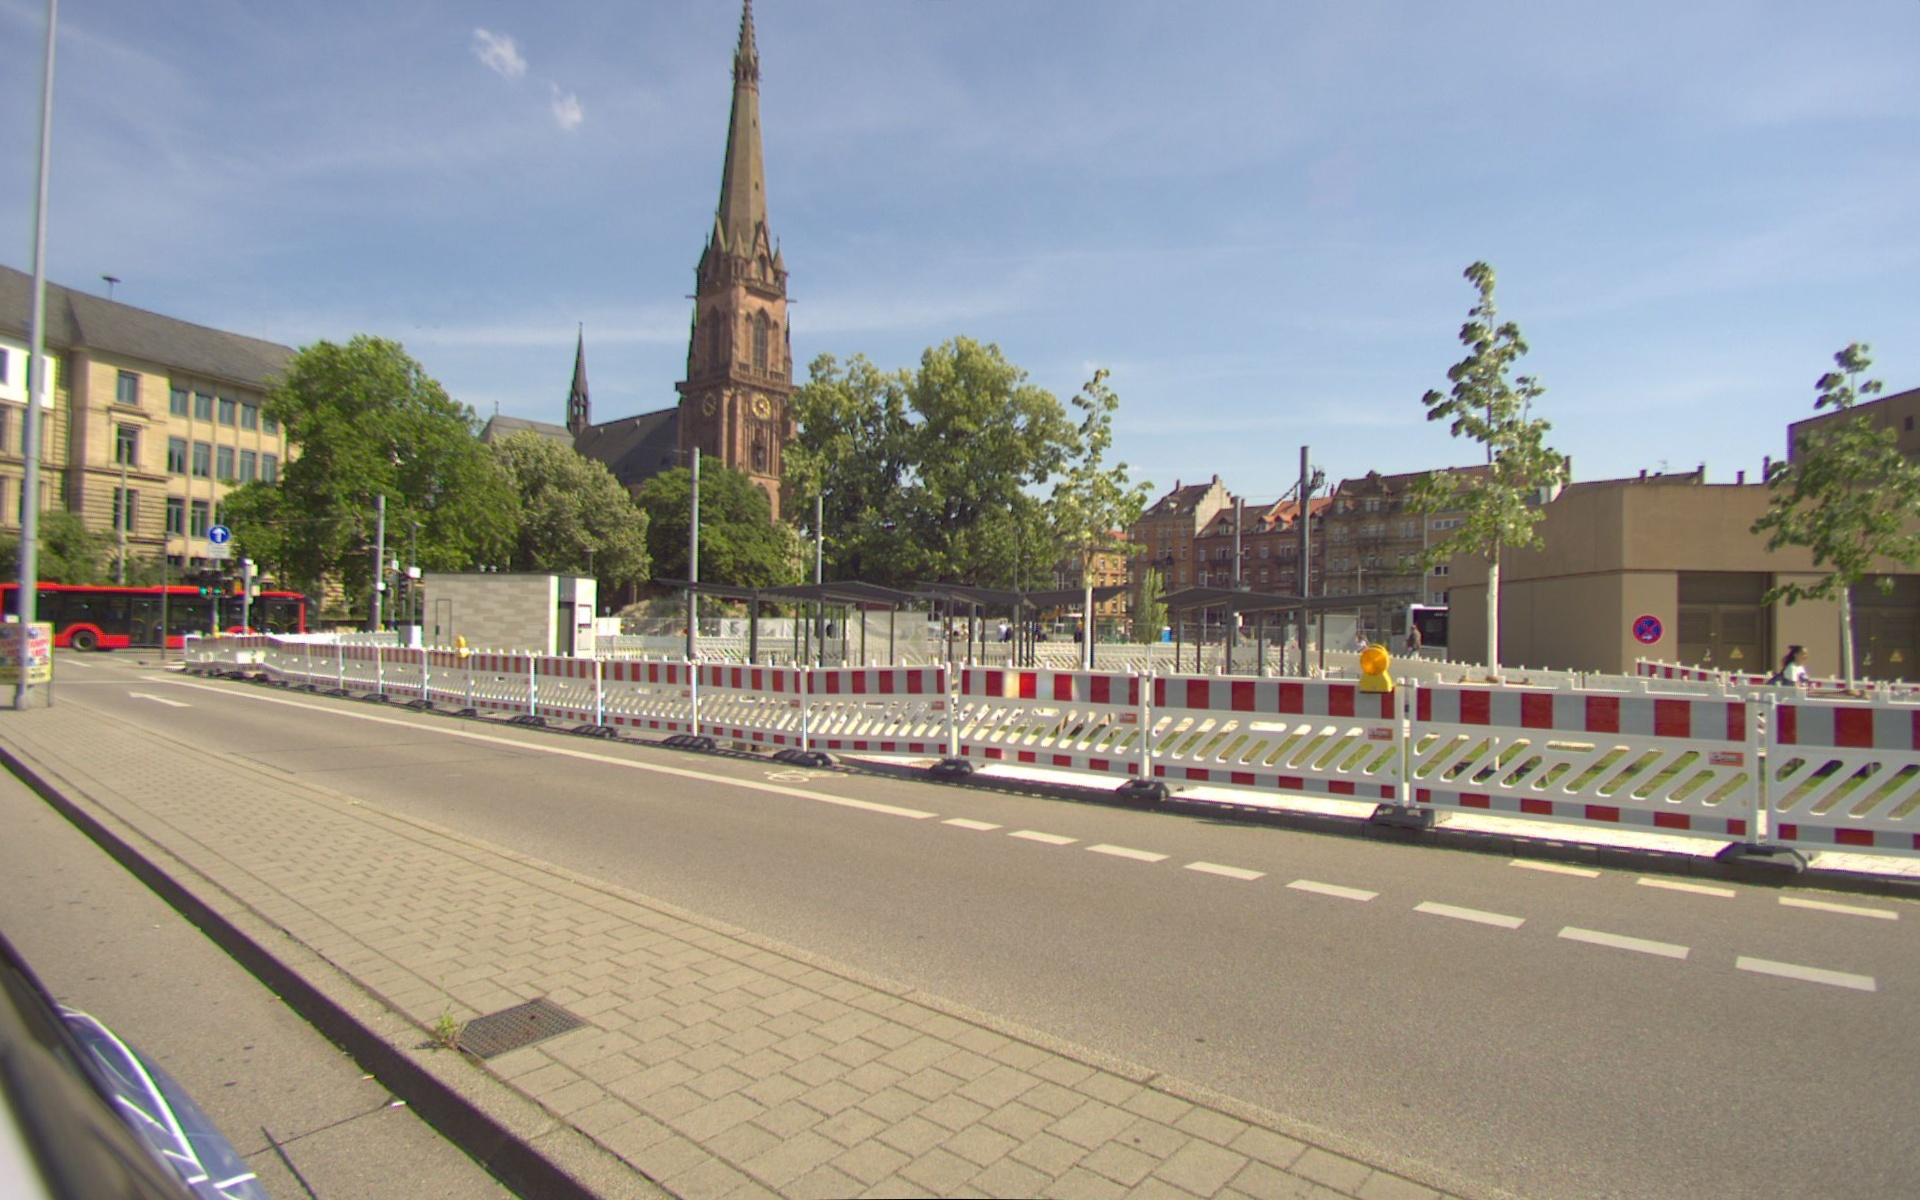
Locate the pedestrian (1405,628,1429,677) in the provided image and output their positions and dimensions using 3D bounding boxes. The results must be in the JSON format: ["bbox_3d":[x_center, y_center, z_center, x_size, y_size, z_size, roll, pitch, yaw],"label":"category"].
[{"bbox_3d":[19.170,2.194,42.456,0.722,2.029,0.581,1,-2,5],"label":"pedestrian"}]

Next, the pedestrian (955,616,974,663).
[{"bbox_3d":[0.183,1.736,44.657,0.679,2.029,0.818,1,-2,11],"label":"pedestrian"}]

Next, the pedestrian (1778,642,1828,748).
[{"bbox_3d":[12.956,1.442,15.551,0.549,1.576,0.425,2,-2,-32],"label":"pedestrian"}]

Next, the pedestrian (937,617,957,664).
[{"bbox_3d":[-0.557,1.782,44.313,0.679,2.029,0.818,1,-2,11],"label":"pedestrian"}]

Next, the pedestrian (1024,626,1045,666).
[{"bbox_3d":[3.218,1.975,43.560,0.733,1.674,0.822,1,-2,-7],"label":"pedestrian"}]

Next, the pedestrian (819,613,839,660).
[{"bbox_3d":[-5.718,1.592,44.247,0.678,2.029,0.819,1,-2,7],"label":"pedestrian"}]

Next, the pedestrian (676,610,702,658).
[{"bbox_3d":[-11.600,1.462,43.347,0.686,2.029,0.809,-1,-3,43],"label":"pedestrian"}]

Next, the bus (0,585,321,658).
[{"bbox_3d":[-37.215,0.913,47.170,12.197,3.117,3.144,-1,0,-22],"label":"bus"}]

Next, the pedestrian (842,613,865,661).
[{"bbox_3d":[-4.641,1.616,44.122,0.810,2.029,0.685,1,-2,6],"label":"pedestrian"}]

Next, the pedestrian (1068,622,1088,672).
[{"bbox_3d":[4.814,1.911,41.218,0.680,2.029,0.816,0,-2,16],"label":"pedestrian"}]
